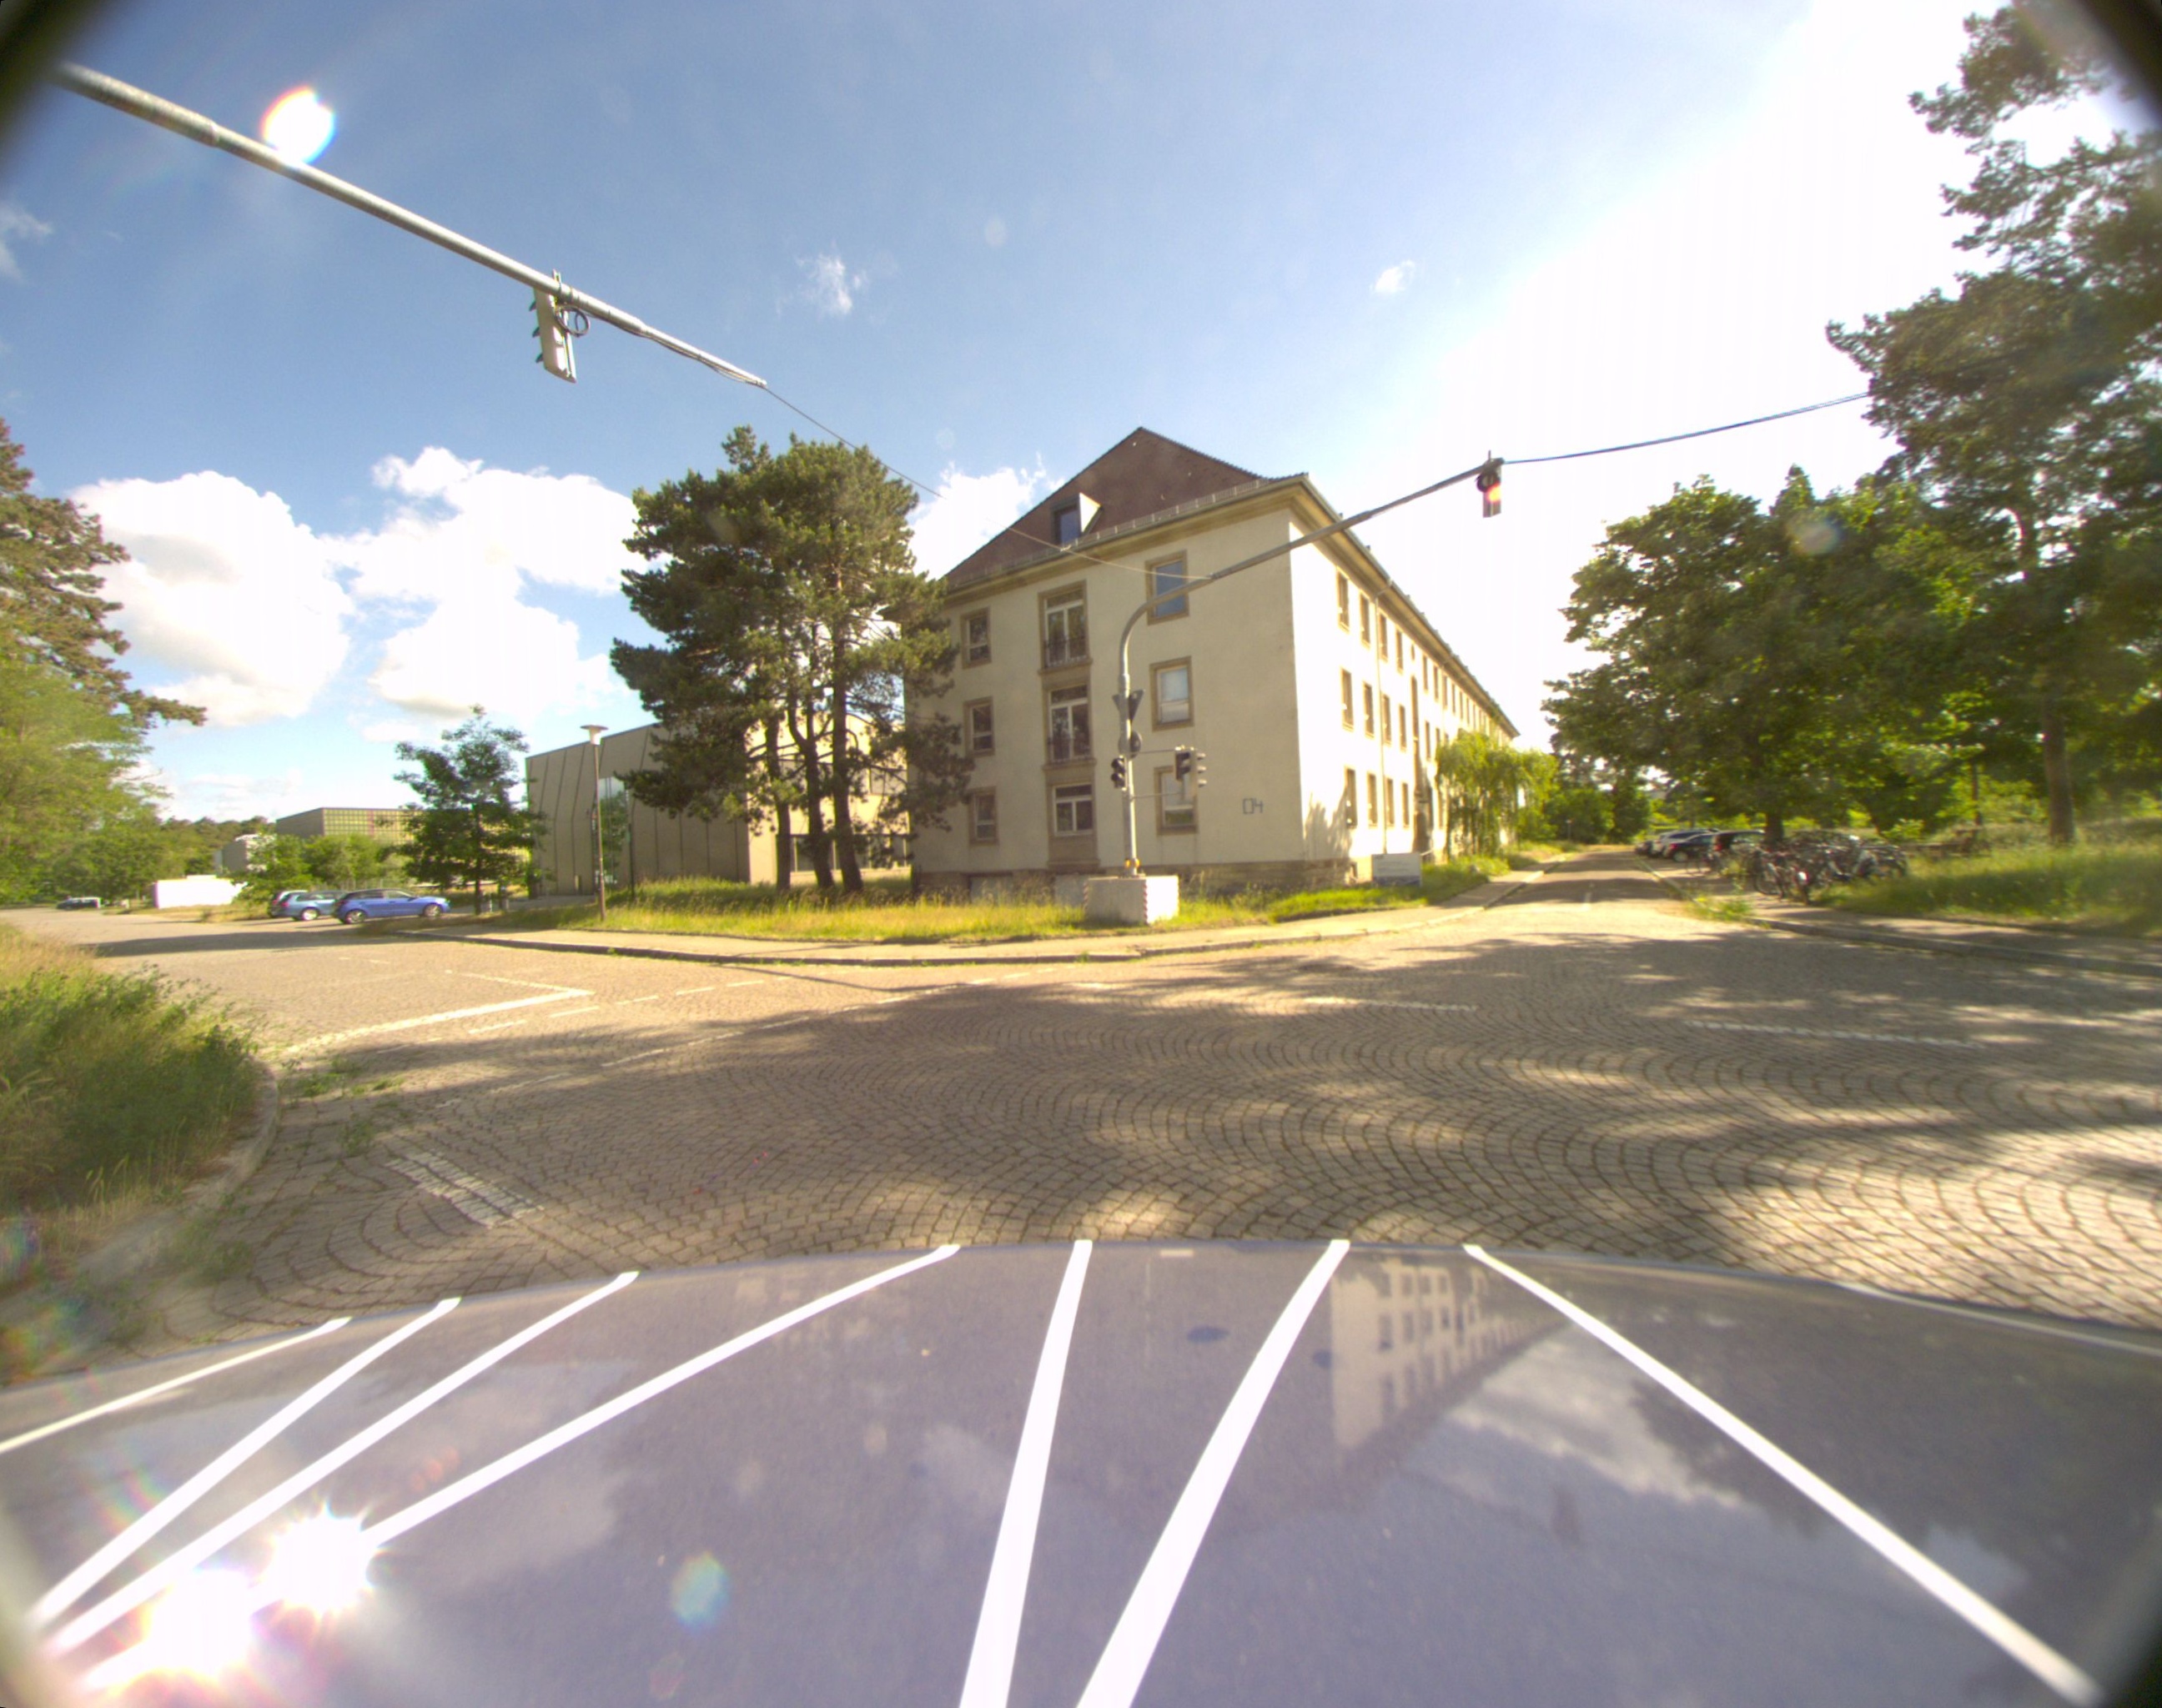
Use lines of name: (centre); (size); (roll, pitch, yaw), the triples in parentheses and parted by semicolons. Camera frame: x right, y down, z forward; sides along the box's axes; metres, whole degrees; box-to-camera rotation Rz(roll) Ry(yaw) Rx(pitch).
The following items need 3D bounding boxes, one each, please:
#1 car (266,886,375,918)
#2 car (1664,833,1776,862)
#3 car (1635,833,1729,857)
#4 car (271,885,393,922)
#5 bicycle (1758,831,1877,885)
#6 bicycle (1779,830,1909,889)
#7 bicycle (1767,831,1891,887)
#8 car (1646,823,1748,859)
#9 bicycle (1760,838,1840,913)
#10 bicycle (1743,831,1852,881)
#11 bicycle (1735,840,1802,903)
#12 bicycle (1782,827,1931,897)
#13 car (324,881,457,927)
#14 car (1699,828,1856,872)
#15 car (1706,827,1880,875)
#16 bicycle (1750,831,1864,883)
car: (-44.780, 2.815, 44.806); (1.777, 1.554, 4.234); (-3, -1, 35)
car: (32.463, -0.325, 38.756); (4.034, 1.356, 1.821); (-2, 1, 28)
car: (36.696, -0.522, 46.511); (4.216, 1.294, 1.821); (-2, 1, 25)
car: (-39.150, 2.575, 39.817); (1.857, 1.554, 4.234); (-6, -2, 34)
bicycle: (19.459, 0.109, 20.142); (2.110, 1.276, 0.622); (-4, 0, 30)
bicycle: (18.663, 0.145, 18.655); (2.110, 1.276, 0.622); (-4, 0, 28)
bicycle: (19.038, 0.135, 19.404); (2.110, 1.276, 0.622); (-4, 0, 29)
car: (35.278, -0.740, 43.641); (4.216, 1.903, 1.821); (-2, 1, 25)
bicycle: (14.123, 0.395, 14.989); (0.620, 1.342, 2.118); (-4, 0, 30)
bicycle: (20.357, 0.067, 21.648); (2.110, 1.276, 0.622); (-4, 0, 30)
bicycle: (15.229, 0.362, 16.874); (0.620, 1.276, 2.118); (-4, 0, 30)
bicycle: (17.197, 0.188, 16.927); (2.110, 1.276, 0.622); (-8, -2, 32)
car: (-31.319, 2.223, 34.552); (1.857, 1.555, 4.066); (-2, 3, 37)
car: (26.207, -0.153, 28.786); (4.035, 1.514, 1.821); (-2, 1, 27)
car: (24.457, -0.089, 26.312); (4.035, 1.493, 1.821); (-2, 1, 27)
bicycle: (19.930, 0.083, 20.916); (2.110, 1.276, 0.622); (-4, 0, 30)
